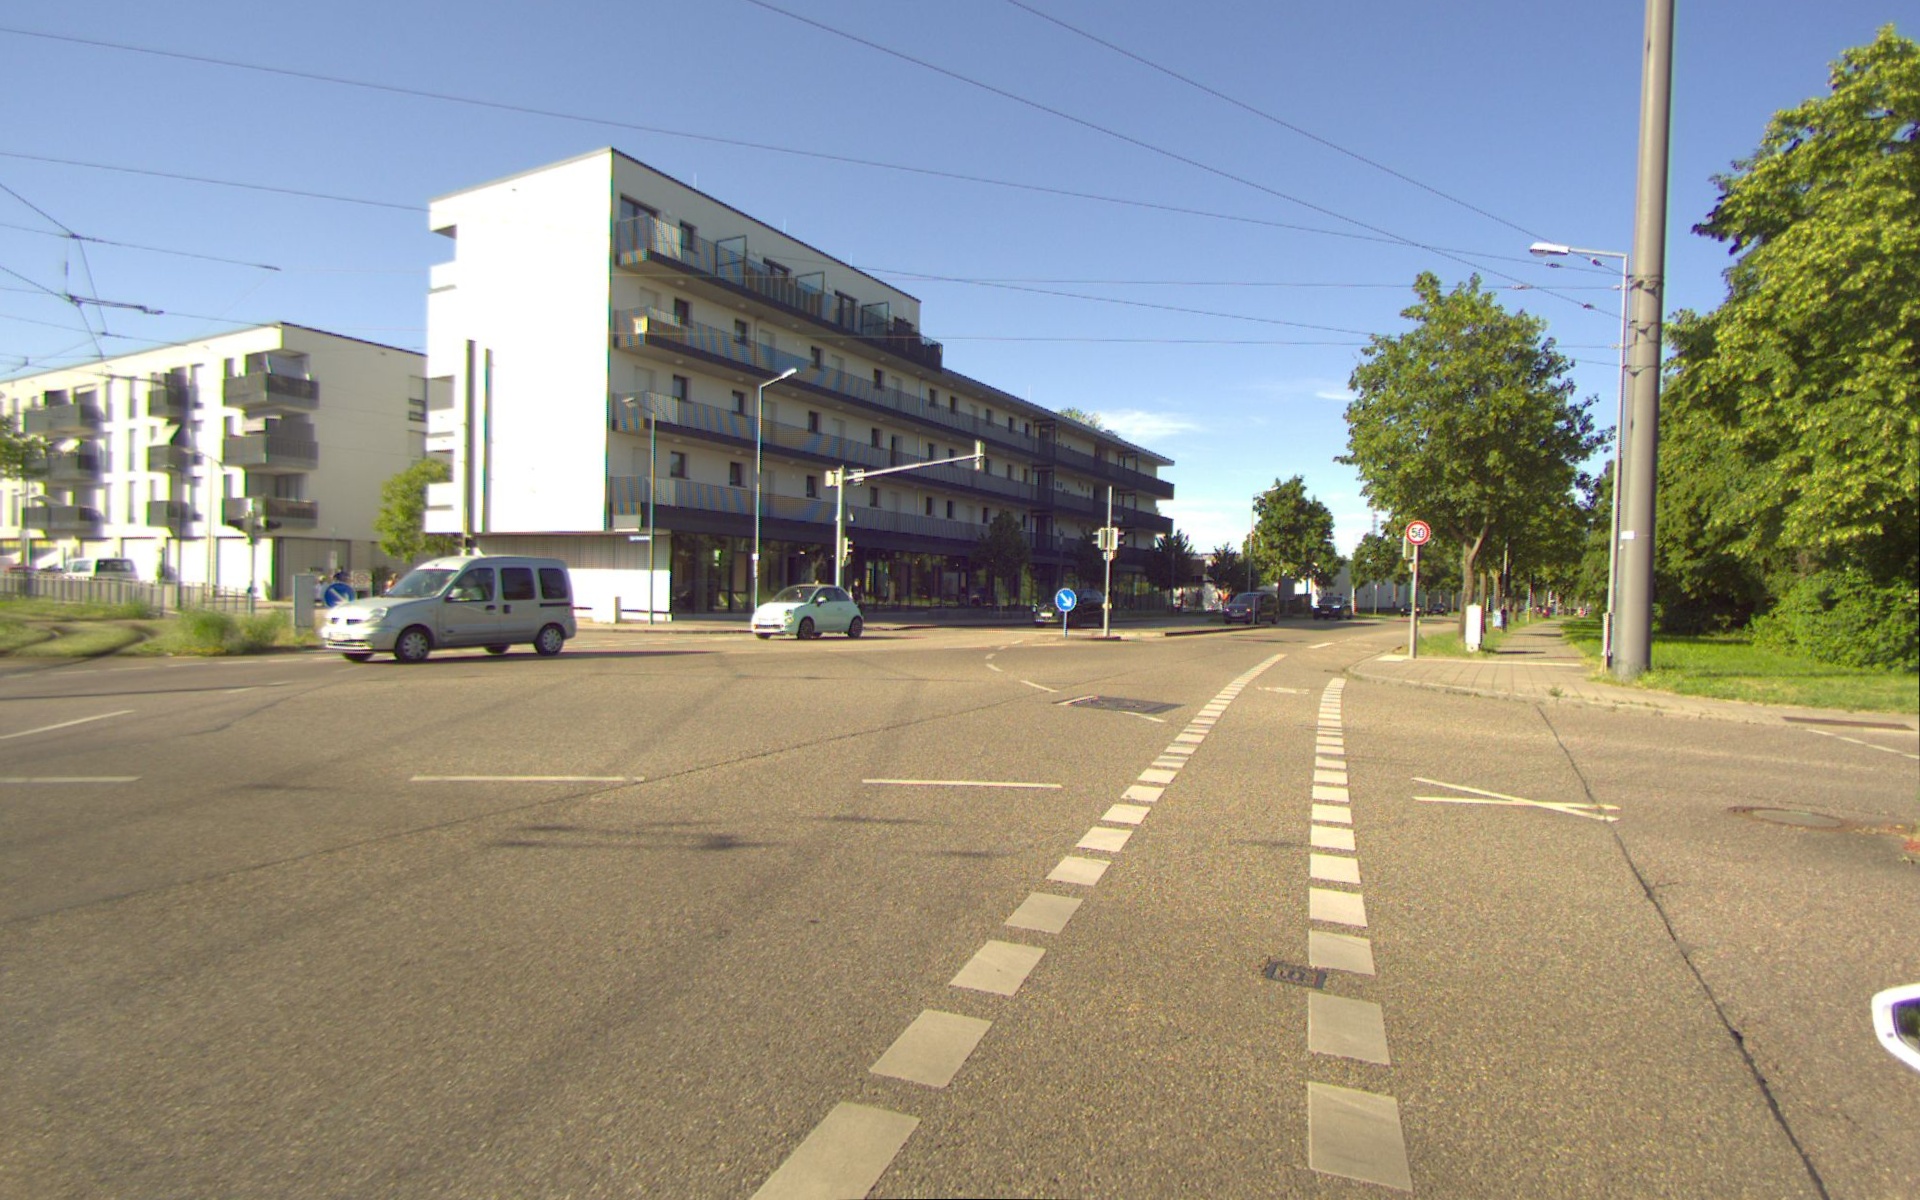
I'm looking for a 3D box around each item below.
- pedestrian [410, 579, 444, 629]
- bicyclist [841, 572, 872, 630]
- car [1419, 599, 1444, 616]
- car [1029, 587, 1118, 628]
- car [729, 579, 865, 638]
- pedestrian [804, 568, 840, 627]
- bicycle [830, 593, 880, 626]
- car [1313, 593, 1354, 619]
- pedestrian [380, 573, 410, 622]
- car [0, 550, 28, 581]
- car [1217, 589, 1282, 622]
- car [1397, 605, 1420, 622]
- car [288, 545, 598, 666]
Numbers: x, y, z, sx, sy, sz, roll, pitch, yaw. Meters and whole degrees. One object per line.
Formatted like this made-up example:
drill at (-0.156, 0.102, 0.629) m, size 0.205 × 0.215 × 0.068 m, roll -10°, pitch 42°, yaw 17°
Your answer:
pedestrian at (-19.412, 0.138, 36.561) m, size 0.944 × 1.756 × 0.639 m, roll 2°, pitch 2°, yaw -39°
bicyclist at (-3.722, 0.021, 36.116) m, size 0.779 × 2.041 × 0.811 m, roll 2°, pitch 1°, yaw 19°
car at (52.080, 0.840, 110.932) m, size 1.869 × 1.782 × 3.989 m, roll 4°, pitch 2°, yaw 33°
car at (4.804, 0.306, 41.953) m, size 1.938 × 1.555 × 4.731 m, roll 2°, pitch 1°, yaw 30°
car at (-4.438, 0.232, 27.749) m, size 1.964 × 1.507 × 3.538 m, roll 0°, pitch 0°, yaw 28°
pedestrian at (-4.865, -0.092, 35.316) m, size 0.962 × 2.041 × 0.760 m, roll 2°, pitch 1°, yaw 26°
bicycle at (-3.779, 0.334, 36.139) m, size 1.610 × 1.159 × 0.745 m, roll 1°, pitch 1°, yaw 19°
car at (27.044, 0.450, 72.627) m, size 1.964 × 1.761 × 5.189 m, roll 2°, pitch 1°, yaw 30°
pedestrian at (-20.440, -0.087, 36.336) m, size 0.566 × 1.709 × 0.749 m, roll 5°, pitch 2°, yaw 37°
car at (-55.549, -2.026, 57.655) m, size 3.929 × 1.574 × 1.996 m, roll 4°, pitch 2°, yaw 31°
car at (15.033, 0.282, 52.036) m, size 1.967 × 1.592 × 3.986 m, roll 2°, pitch 1°, yaw 36°
car at (44.288, 1.294, 99.208) m, size 1.654 × 1.555 × 3.992 m, roll 2°, pitch 1°, yaw 30°
car at (-8.614, 0.068, 17.164) m, size 1.964 × 1.779 × 4.355 m, roll 2°, pitch 1°, yaw 29°
